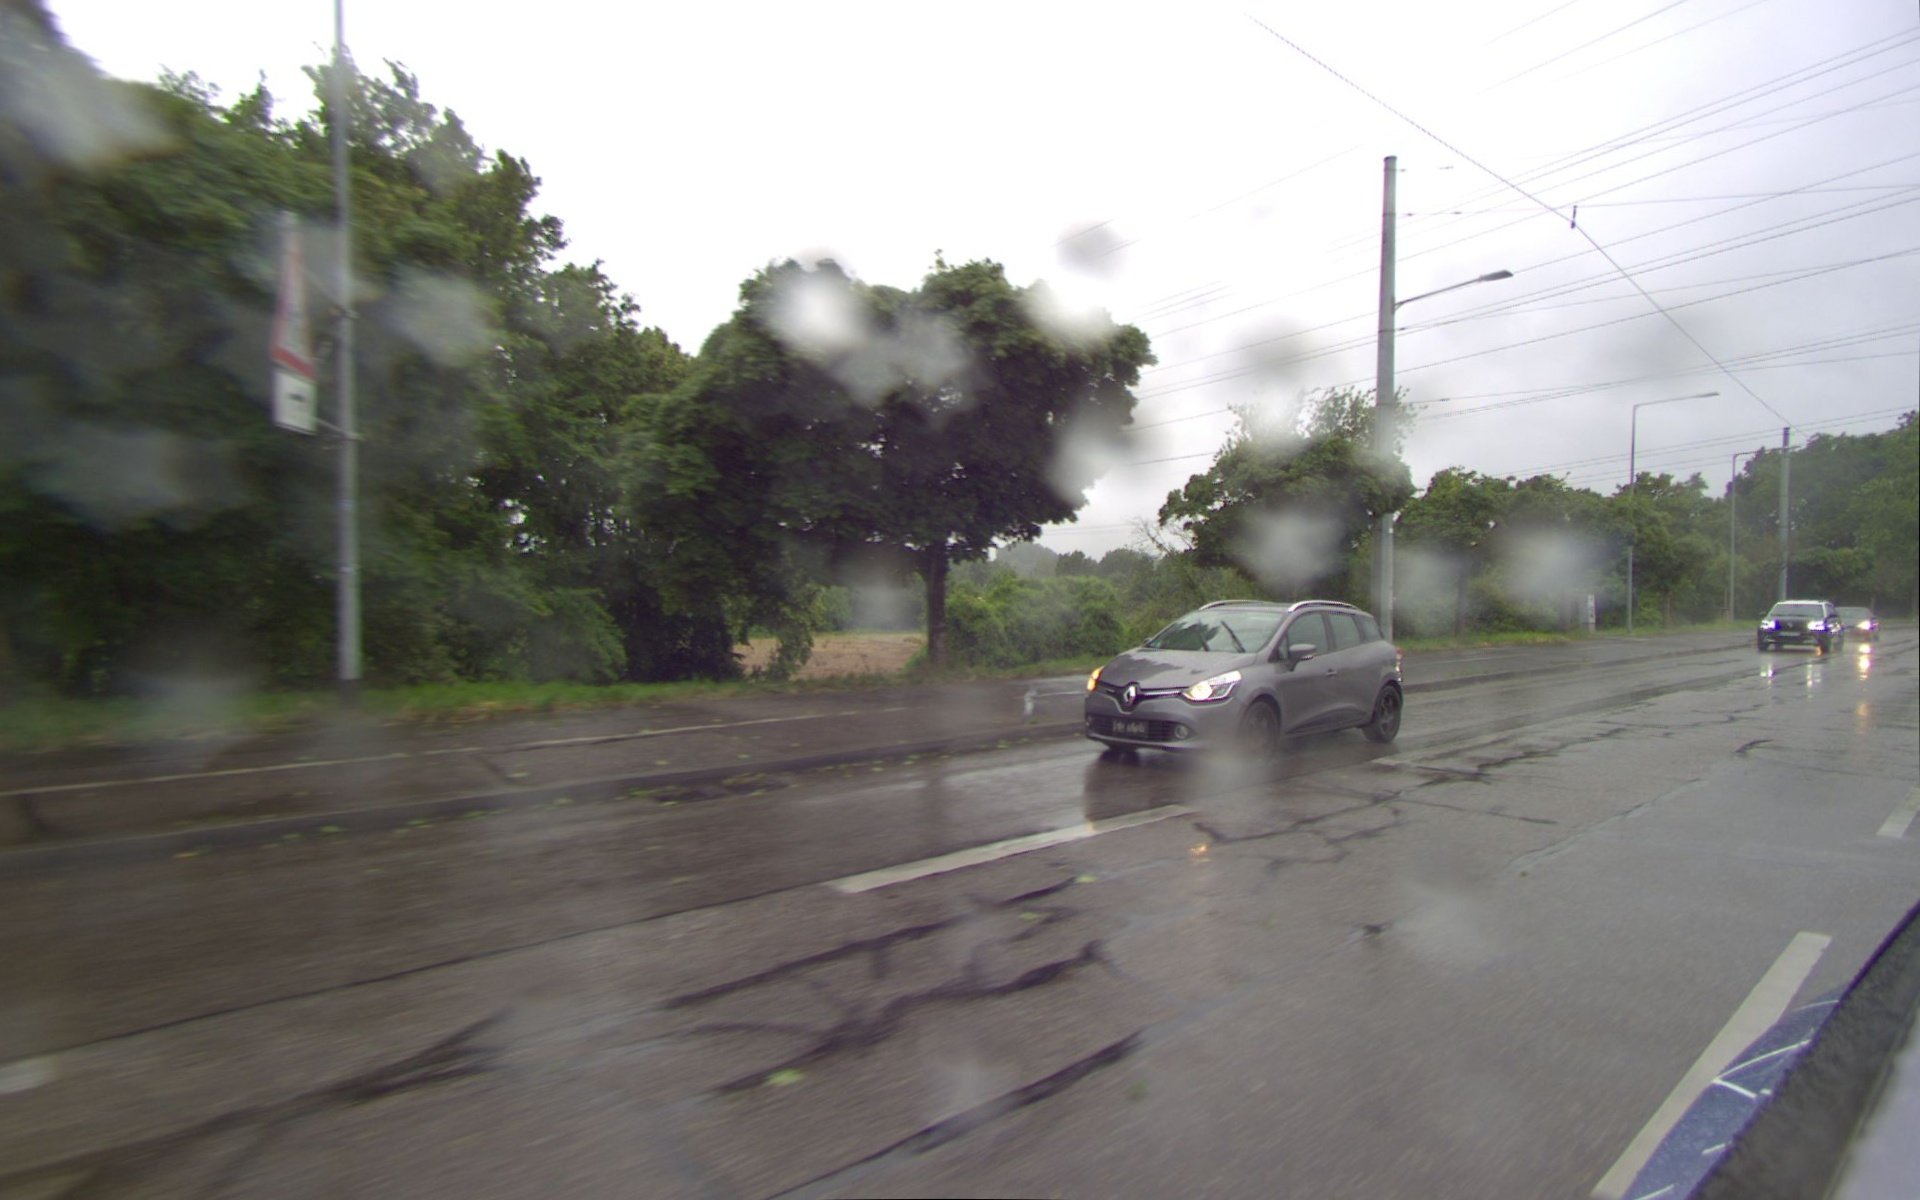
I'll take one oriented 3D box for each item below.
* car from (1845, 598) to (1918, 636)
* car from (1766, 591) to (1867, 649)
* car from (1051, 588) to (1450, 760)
[{"bbox_3d":[38.156,0.702,41.868,3.929,1.445,1.783,1,0,-41],"label":"car"},{"bbox_3d":[27.673,0.628,32.657,4.679,1.724,1.796,1,-1,-41],"label":"car"},{"bbox_3d":[3.055,0.616,10.187,4.202,1.374,1.891,1,-1,-41],"label":"car"}]
